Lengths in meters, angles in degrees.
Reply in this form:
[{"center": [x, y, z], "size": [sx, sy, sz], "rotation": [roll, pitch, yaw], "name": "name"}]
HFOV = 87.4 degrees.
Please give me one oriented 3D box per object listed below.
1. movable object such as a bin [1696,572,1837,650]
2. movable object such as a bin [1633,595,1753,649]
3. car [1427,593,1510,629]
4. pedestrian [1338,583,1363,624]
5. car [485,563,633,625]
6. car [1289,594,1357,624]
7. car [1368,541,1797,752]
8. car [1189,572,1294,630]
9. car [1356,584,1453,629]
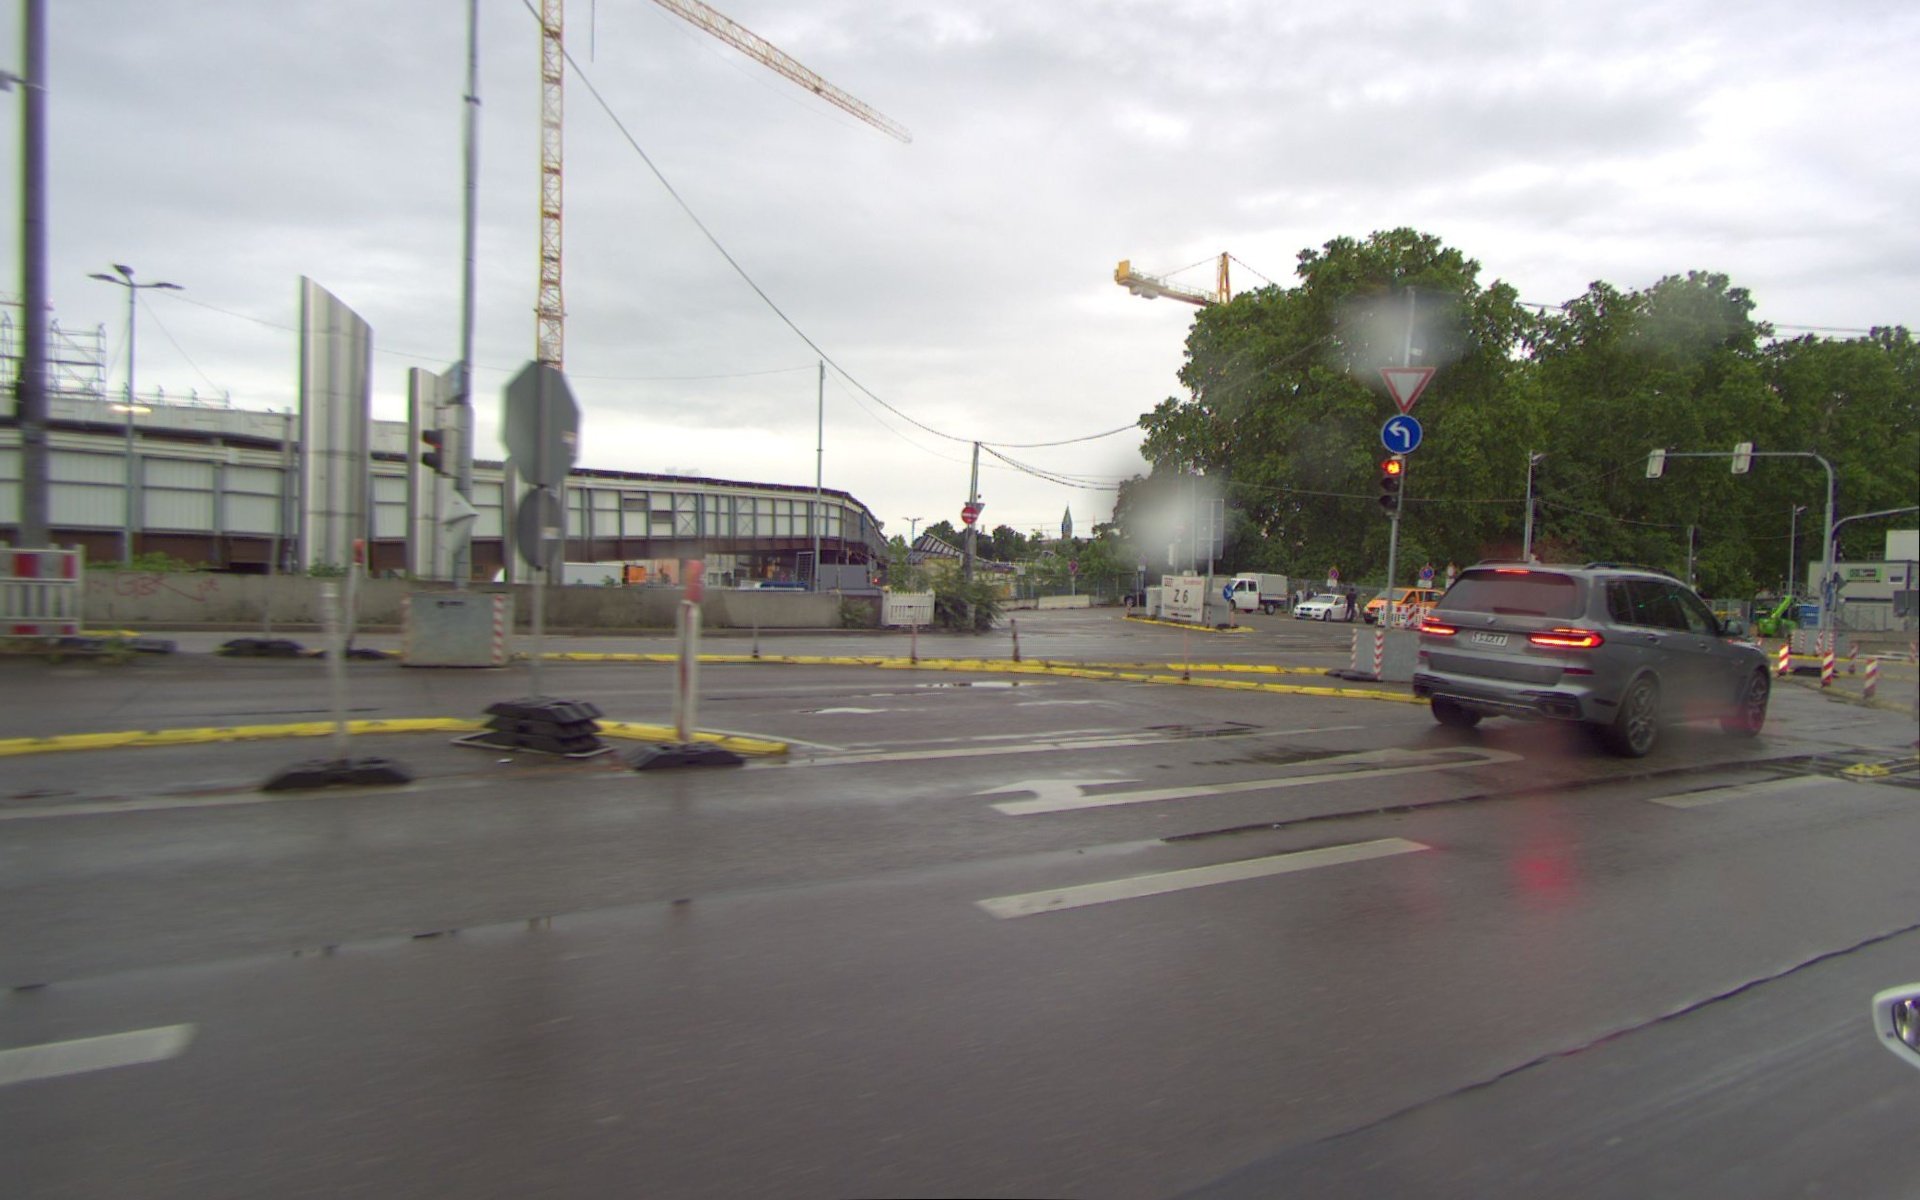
[{"center": [54.053, 0.786, 67.328], "size": [8.263, 4.867, 4.726], "rotation": [2, 0, -31], "name": "movable object such as a bin"}, {"center": [46.116, 1.387, 63.215], "size": [6.315, 3.170, 3.912], "rotation": [2, 0, -31], "name": "movable object such as a bin"}, {"center": [27.825, 0.605, 54.929], "size": [4.743, 1.785, 1.835], "rotation": [2, 0, -31], "name": "car"}, {"center": [19.960, 0.194, 51.352], "size": [0.731, 2.041, 0.913], "rotation": [1, 1, -36], "name": "pedestrian"}, {"center": [-14.383, -0.208, 36.365], "size": [1.962, 2.040, 5.023], "rotation": [2, 0, 23], "name": "car"}, {"center": [18.858, 0.497, 52.145], "size": [3.806, 1.434, 1.741], "rotation": [2, 0, -43], "name": "car"}, {"center": [7.083, 0.435, 11.265], "size": [5.022, 1.888, 2.195], "rotation": [2, 2, -34], "name": "car"}, {"center": [16.251, 0.068, 57.863], "size": [6.101, 3.107, 2.261], "rotation": [2, 0, -32], "name": "car"}, {"center": [22.923, 0.351, 51.703], "size": [5.525, 2.128, 1.981], "rotation": [2, -1, -34], "name": "car"}]
